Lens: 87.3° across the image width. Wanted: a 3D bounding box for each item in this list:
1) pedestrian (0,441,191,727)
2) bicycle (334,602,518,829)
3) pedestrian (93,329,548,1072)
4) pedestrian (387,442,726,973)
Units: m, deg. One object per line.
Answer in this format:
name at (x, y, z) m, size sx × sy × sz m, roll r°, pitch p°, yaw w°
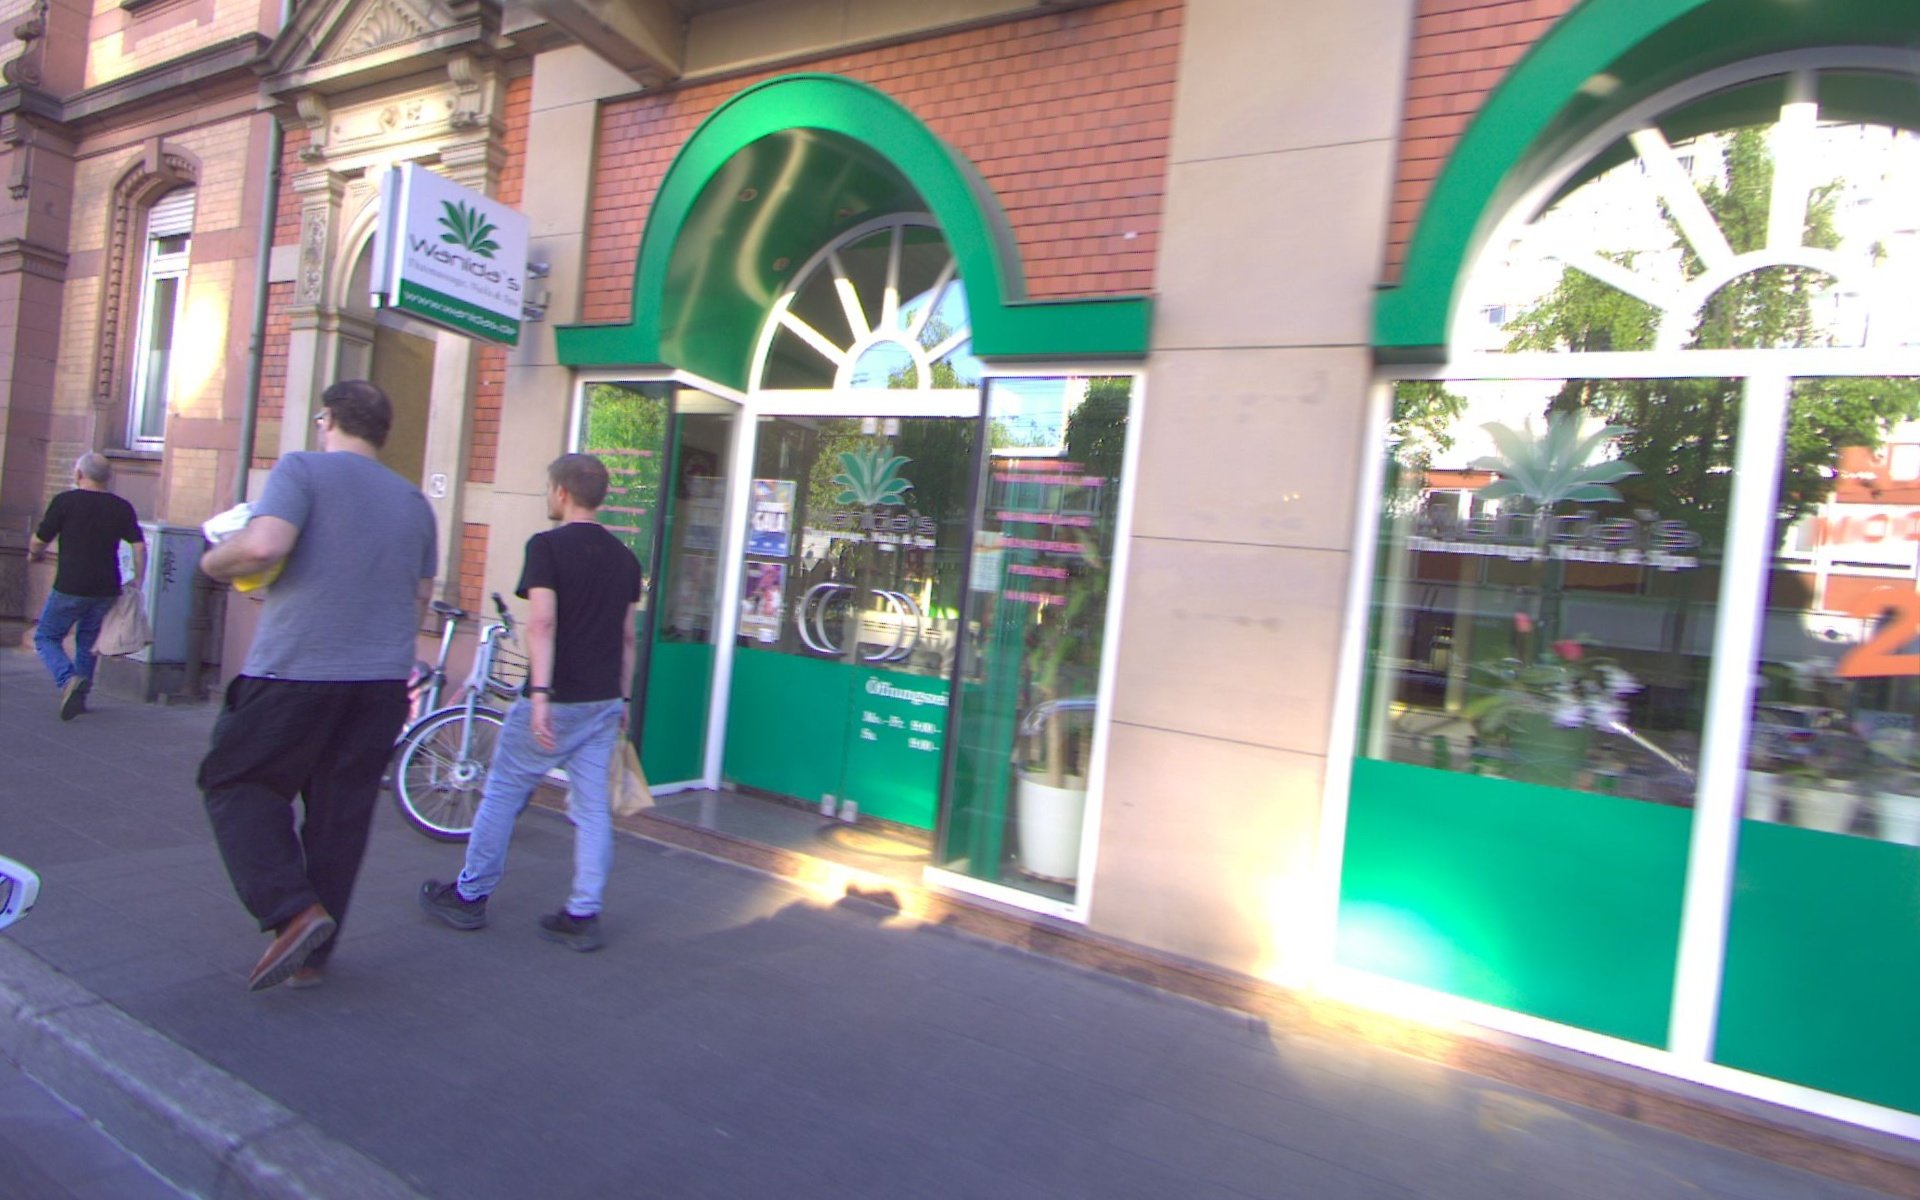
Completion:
pedestrian at (-5.780, -0.106, 6.661) m, size 0.741 × 1.745 × 0.776 m, roll 6°, pitch 2°, yaw 29°
bicycle at (-2.887, 0.572, 5.393) m, size 1.222 × 1.009 × 0.344 m, roll 6°, pitch 2°, yaw 38°
pedestrian at (-1.948, 0.252, 3.119) m, size 0.741 × 1.919 × 0.822 m, roll 6°, pitch 2°, yaw 29°
pedestrian at (-1.510, 0.348, 3.822) m, size 0.741 × 1.745 × 0.776 m, roll 6°, pitch 2°, yaw 29°
